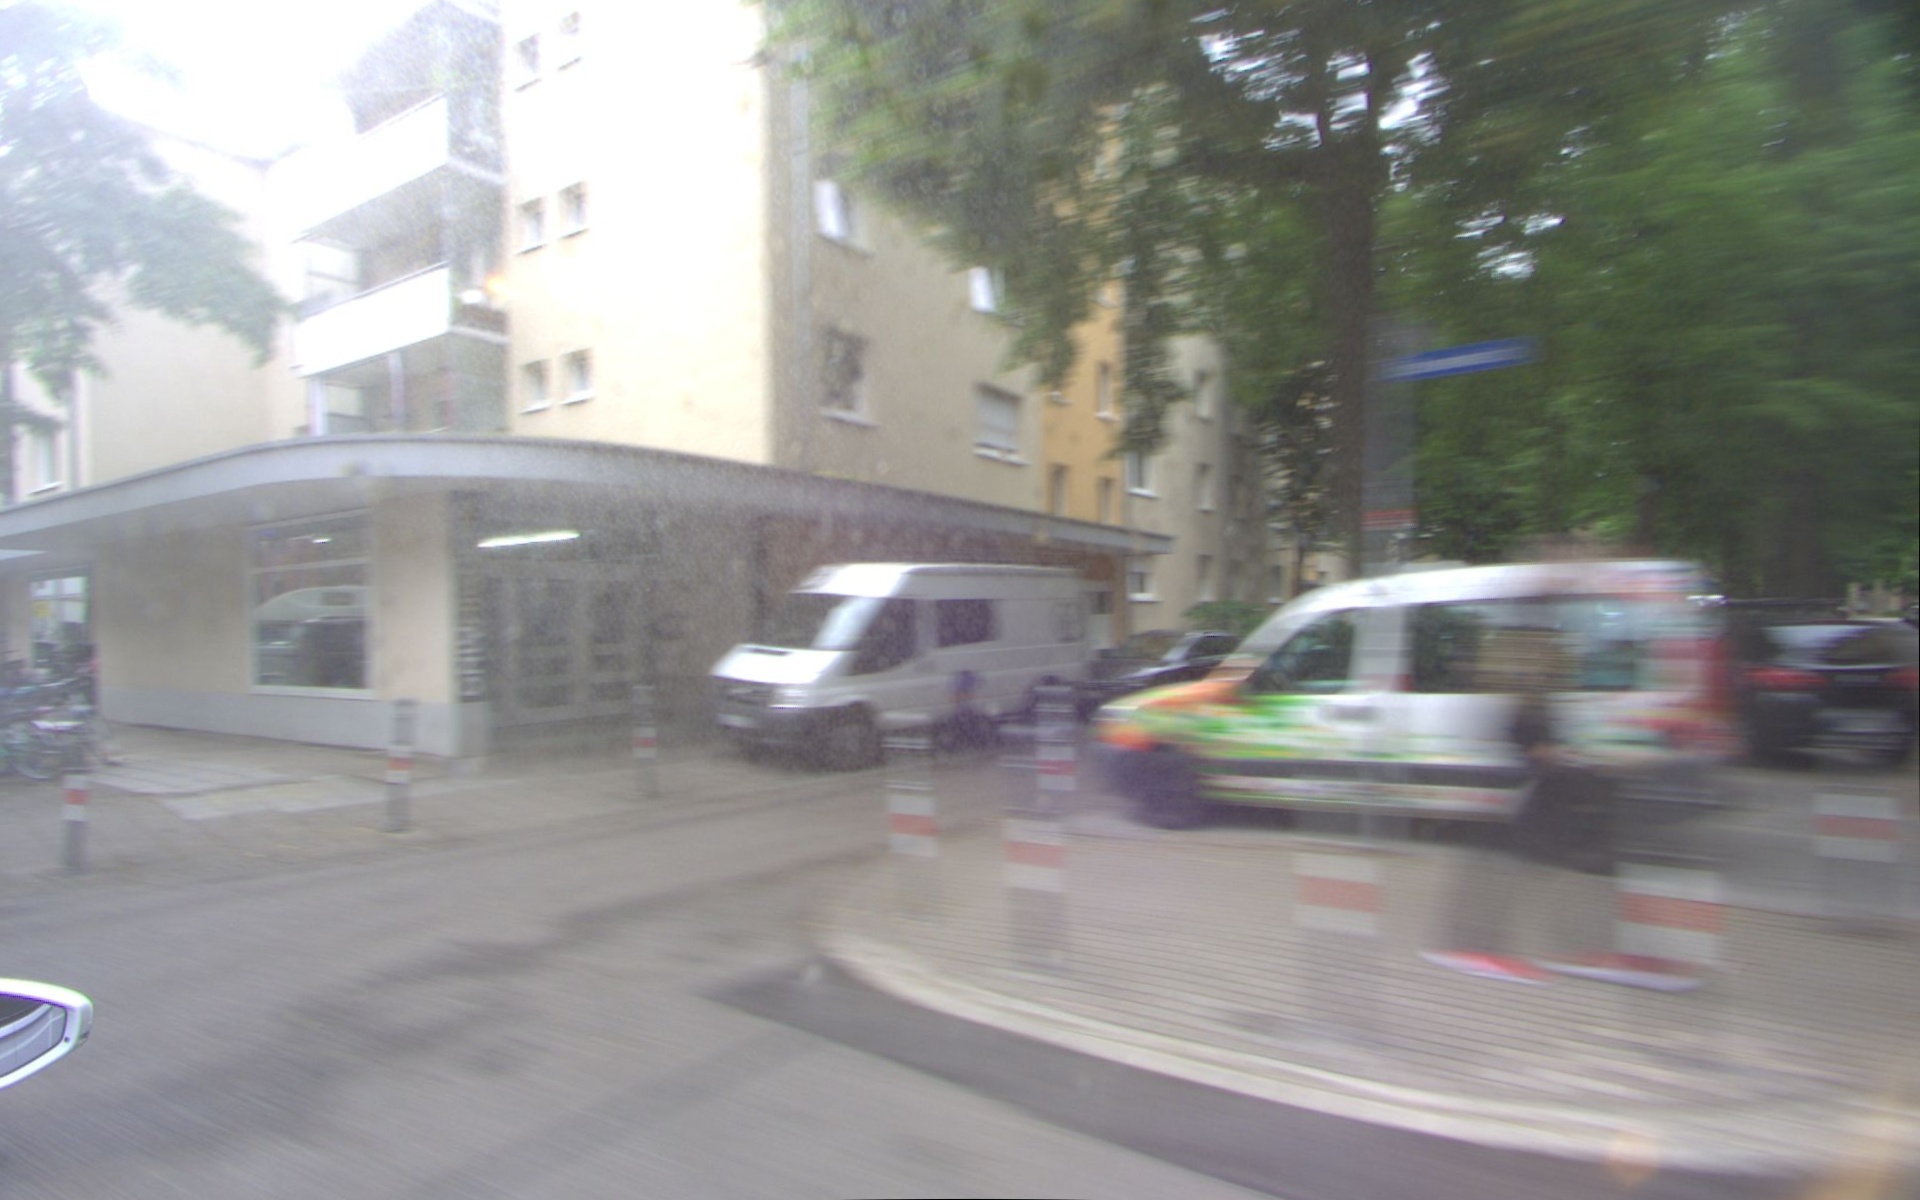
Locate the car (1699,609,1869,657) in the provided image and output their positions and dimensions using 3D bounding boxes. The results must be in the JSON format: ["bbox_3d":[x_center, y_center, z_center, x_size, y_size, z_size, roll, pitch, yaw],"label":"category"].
[{"bbox_3d":[26.117,1.008,31.911,1.707,1.408,3.996,-1,-1,-12],"label":"car"}]

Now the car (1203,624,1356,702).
[{"bbox_3d":[6.844,1.264,21.296,1.615,1.447,3.672,-1,-1,45],"label":"car"}]

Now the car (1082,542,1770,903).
[{"bbox_3d":[3.018,0.671,6.981,3.947,1.843,1.765,-1,-1,36],"label":"car"}]

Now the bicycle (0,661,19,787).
[{"bbox_3d":[-10.036,1.200,9.629,1.696,1.189,0.550,-1,0,11],"label":"bicycle"}]

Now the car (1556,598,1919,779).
[{"bbox_3d":[8.349,0.812,10.870,1.652,1.602,3.952,0,-1,5],"label":"car"}]

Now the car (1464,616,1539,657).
[{"bbox_3d":[19.525,1.325,36.039,1.494,1.385,3.490,-3,-3,44],"label":"car"}]

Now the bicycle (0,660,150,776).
[{"bbox_3d":[-9.801,1.262,10.931,1.665,1.189,0.550,-1,0,11],"label":"bicycle"}]

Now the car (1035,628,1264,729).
[{"bbox_3d":[3.356,1.239,17.239,1.887,1.447,4.142,-1,-1,45],"label":"car"}]

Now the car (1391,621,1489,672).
[{"bbox_3d":[13.851,1.327,28.824,1.494,1.385,3.490,-3,-3,44],"label":"car"}]

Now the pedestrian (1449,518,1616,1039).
[{"bbox_3d":[2.281,0.634,3.966,0.502,1.820,0.777,0,-1,35],"label":"pedestrian"}]

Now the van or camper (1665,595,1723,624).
[{"bbox_3d":[81.258,1.110,110.894,4.968,3.074,1.991,-1,-1,31],"label":"van or camper"}]

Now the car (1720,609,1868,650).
[{"bbox_3d":[30.603,1.058,36.901,1.707,1.408,3.996,-1,-1,-12],"label":"car"}]

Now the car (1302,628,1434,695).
[{"bbox_3d":[10.158,1.448,24.790,1.757,1.437,3.965,-1,-1,42],"label":"car"}]

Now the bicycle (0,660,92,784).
[{"bbox_3d":[-9.873,1.229,10.263,1.696,1.189,0.550,-1,0,11],"label":"bicycle"}]

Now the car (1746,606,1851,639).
[{"bbox_3d":[43.617,1.171,52.169,1.707,1.632,3.996,-1,-1,-12],"label":"car"}]

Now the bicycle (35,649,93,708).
[{"bbox_3d":[-17.748,1.528,19.830,1.678,1.104,0.483,-1,0,35],"label":"bicycle"}]

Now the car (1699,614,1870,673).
[{"bbox_3d":[22.431,1.132,27.455,1.632,1.483,4.000,-1,-1,6],"label":"car"}]

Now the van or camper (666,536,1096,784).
[{"bbox_3d":[-0.719,0.588,13.056,2.110,2.529,5.743,3,2,41],"label":"van or camper"}]

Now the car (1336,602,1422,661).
[{"bbox_3d":[15.425,1.120,36.746,1.975,2.040,3.972,-1,-1,37],"label":"car"}]

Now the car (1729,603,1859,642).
[{"bbox_3d":[35.047,0.951,42.216,1.707,1.551,3.996,-1,-1,-12],"label":"car"}]
